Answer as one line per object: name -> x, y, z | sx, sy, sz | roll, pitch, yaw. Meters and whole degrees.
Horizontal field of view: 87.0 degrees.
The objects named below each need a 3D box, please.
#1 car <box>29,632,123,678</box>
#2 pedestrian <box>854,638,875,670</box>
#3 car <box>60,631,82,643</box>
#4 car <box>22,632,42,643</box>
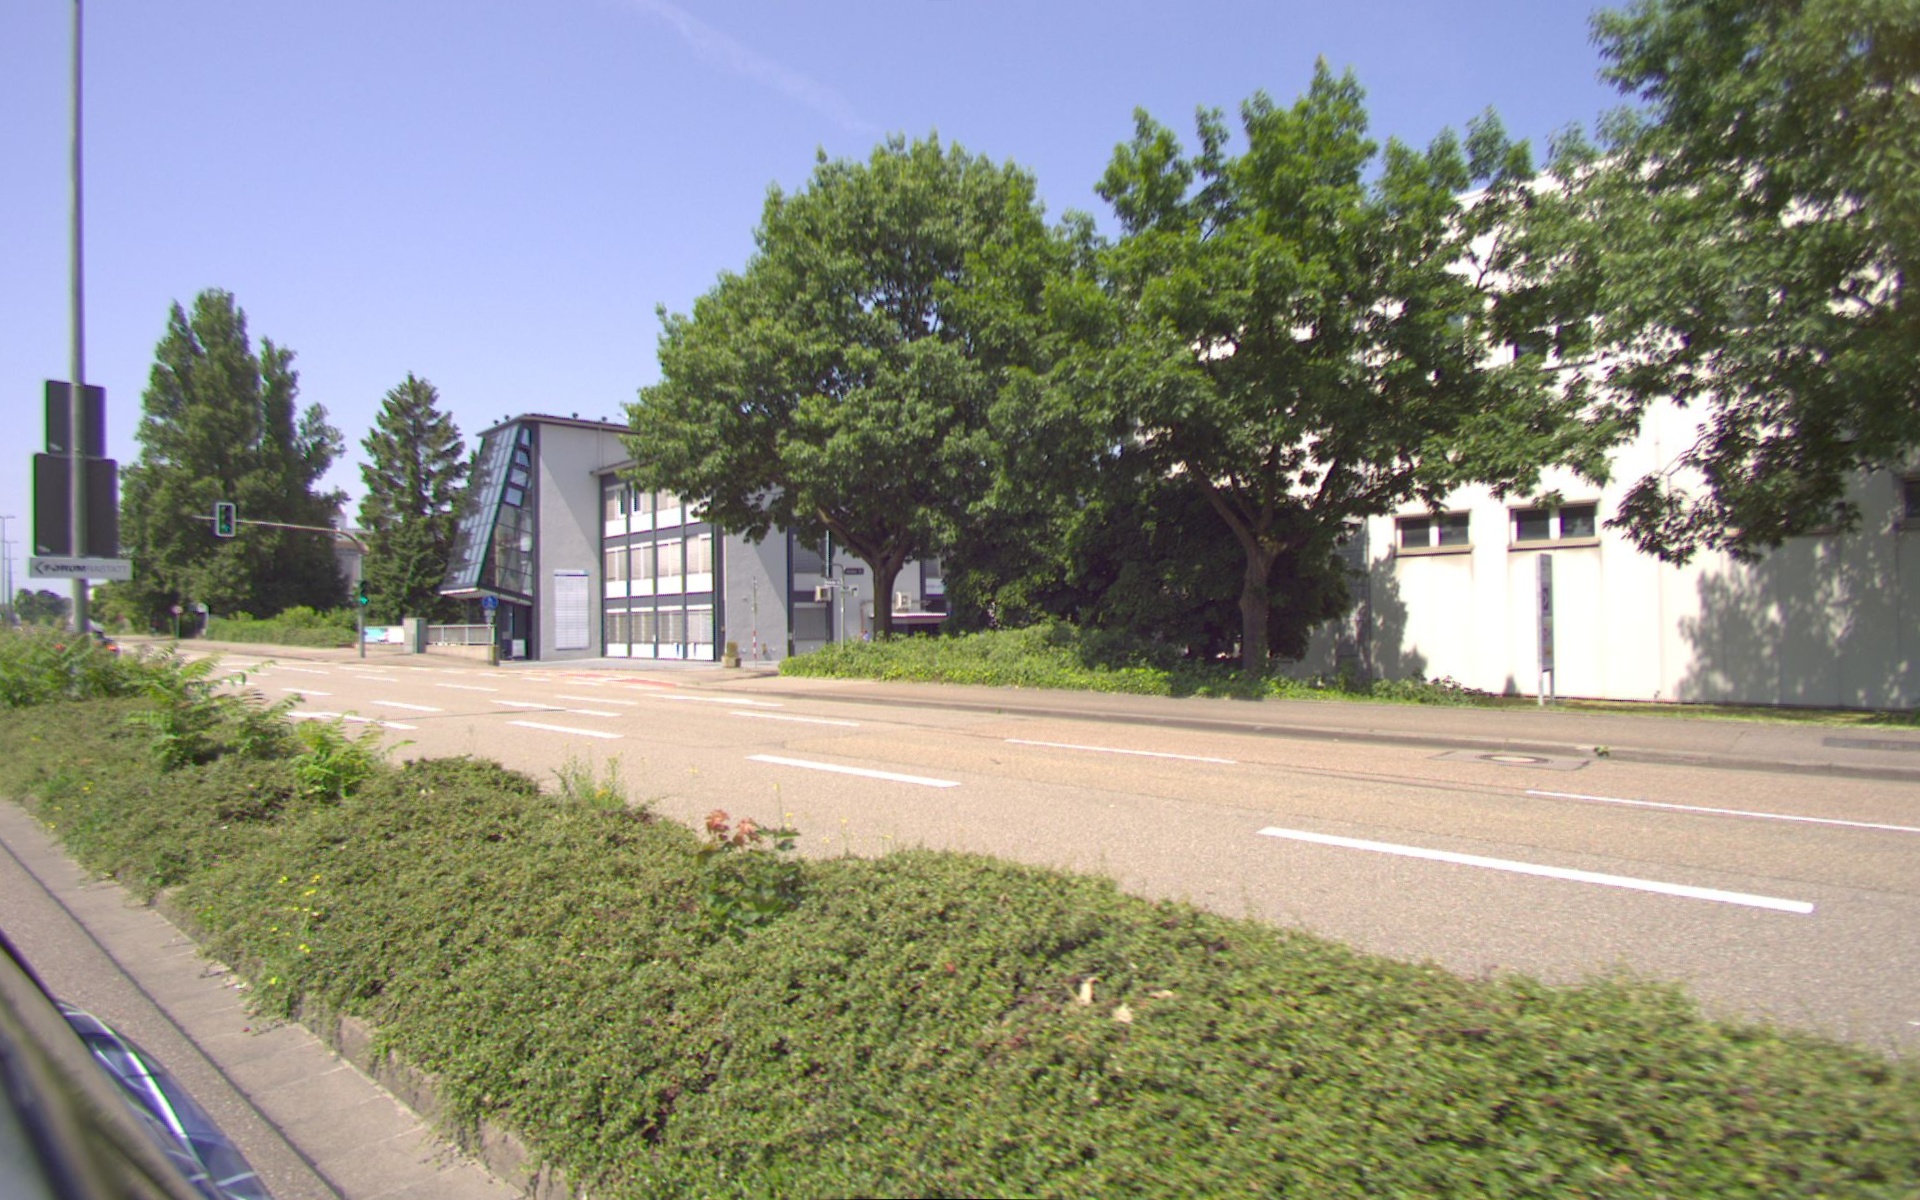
car -> -28.046, 1.702, 32.059 | 4.148, 1.334, 1.711 | -1, -3, 42
pedestrian -> -4.921, 2.764, 52.107 | 0.858, 1.637, 0.676 | -1, -3, 35
car -> -120.200, 4.976, 136.833 | 4.288, 1.572, 1.872 | -2, -3, 44
car -> -128.006, 5.151, 139.640 | 4.092, 1.429, 1.740 | -1, -3, 43
